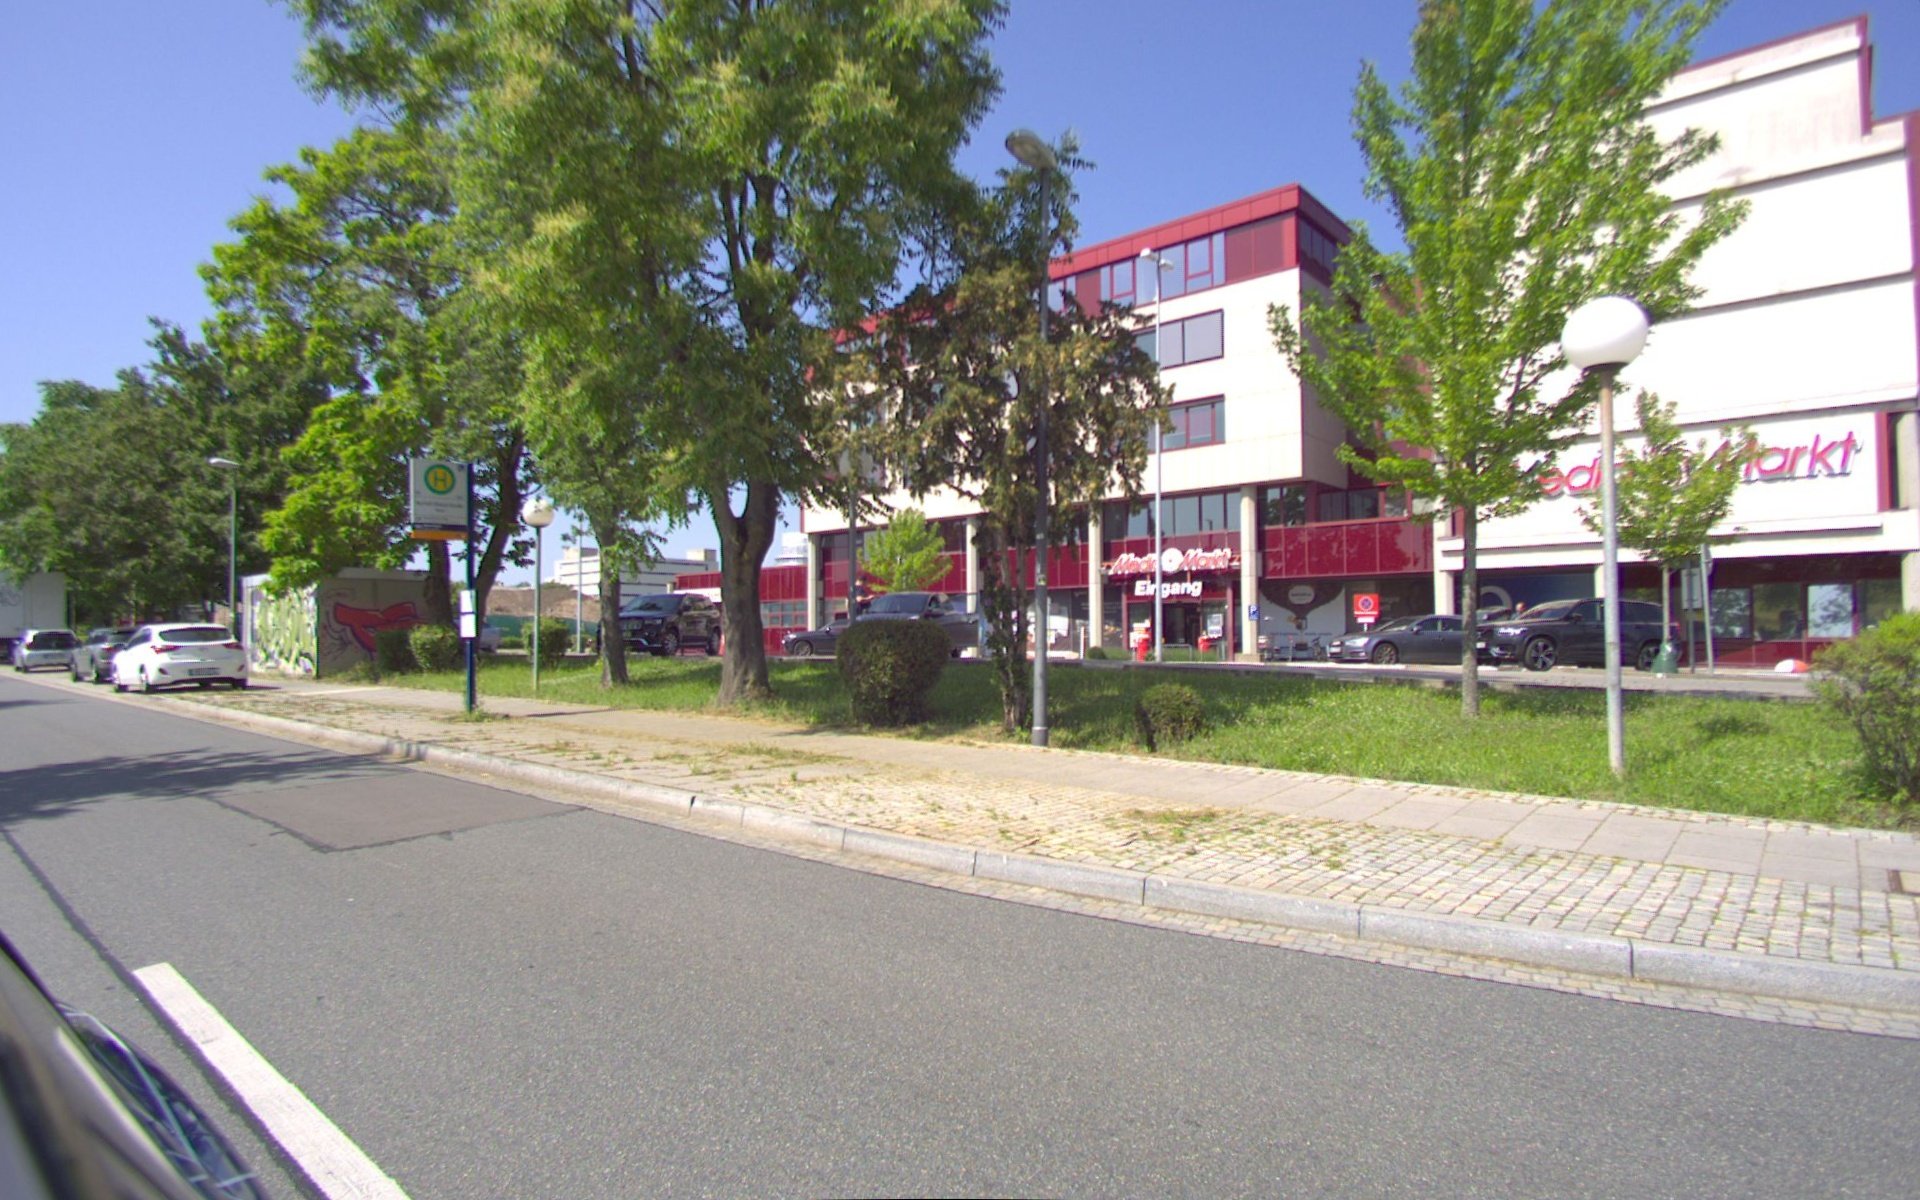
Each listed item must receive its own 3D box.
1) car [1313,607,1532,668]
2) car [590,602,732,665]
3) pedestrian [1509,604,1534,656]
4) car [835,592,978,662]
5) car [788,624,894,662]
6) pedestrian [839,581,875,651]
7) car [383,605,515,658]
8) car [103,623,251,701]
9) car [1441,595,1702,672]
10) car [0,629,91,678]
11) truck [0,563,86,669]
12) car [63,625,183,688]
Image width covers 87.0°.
[{"bbox_3d":[11.849,0.970,26.101,4.794,1.504,1.921,0,-2,-6],"label":"car"},{"bbox_3d":[-7.843,0.839,27.076,1.831,1.504,4.805,-1,-1,8],"label":"car"},{"bbox_3d":[14.848,0.789,26.751,0.519,1.366,0.458,-2,-2,31],"label":"pedestrian"},{"bbox_3d":[-1.044,0.541,21.806,1.705,1.348,3.964,-2,-1,19],"label":"car"},{"bbox_3d":[-4.817,1.728,41.015,4.174,1.462,1.725,-1,-2,-6],"label":"car"},{"bbox_3d":[-2.333,0.364,22.841,0.555,1.539,0.759,0,-2,-27],"label":"pedestrian"},{"bbox_3d":[-18.940,1.191,37.789,1.978,1.818,4.701,-2,-2,10],"label":"car"},{"bbox_3d":[-17.127,1.303,22.086,3.997,1.504,1.743,-2,-1,40],"label":"car"},{"bbox_3d":[14.227,0.841,23.676,5.031,1.606,2.192,2,-4,-12],"label":"car"},{"bbox_3d":[-31.397,1.808,34.718,3.997,1.527,1.792,-2,-1,40],"label":"car"},{"bbox_3d":[-40.702,0.772,43.658,9.274,4.175,3.310,-2,-1,42],"label":"truck"},{"bbox_3d":[-22.454,1.470,27.093,3.997,1.527,1.792,-2,-1,40],"label":"car"}]
